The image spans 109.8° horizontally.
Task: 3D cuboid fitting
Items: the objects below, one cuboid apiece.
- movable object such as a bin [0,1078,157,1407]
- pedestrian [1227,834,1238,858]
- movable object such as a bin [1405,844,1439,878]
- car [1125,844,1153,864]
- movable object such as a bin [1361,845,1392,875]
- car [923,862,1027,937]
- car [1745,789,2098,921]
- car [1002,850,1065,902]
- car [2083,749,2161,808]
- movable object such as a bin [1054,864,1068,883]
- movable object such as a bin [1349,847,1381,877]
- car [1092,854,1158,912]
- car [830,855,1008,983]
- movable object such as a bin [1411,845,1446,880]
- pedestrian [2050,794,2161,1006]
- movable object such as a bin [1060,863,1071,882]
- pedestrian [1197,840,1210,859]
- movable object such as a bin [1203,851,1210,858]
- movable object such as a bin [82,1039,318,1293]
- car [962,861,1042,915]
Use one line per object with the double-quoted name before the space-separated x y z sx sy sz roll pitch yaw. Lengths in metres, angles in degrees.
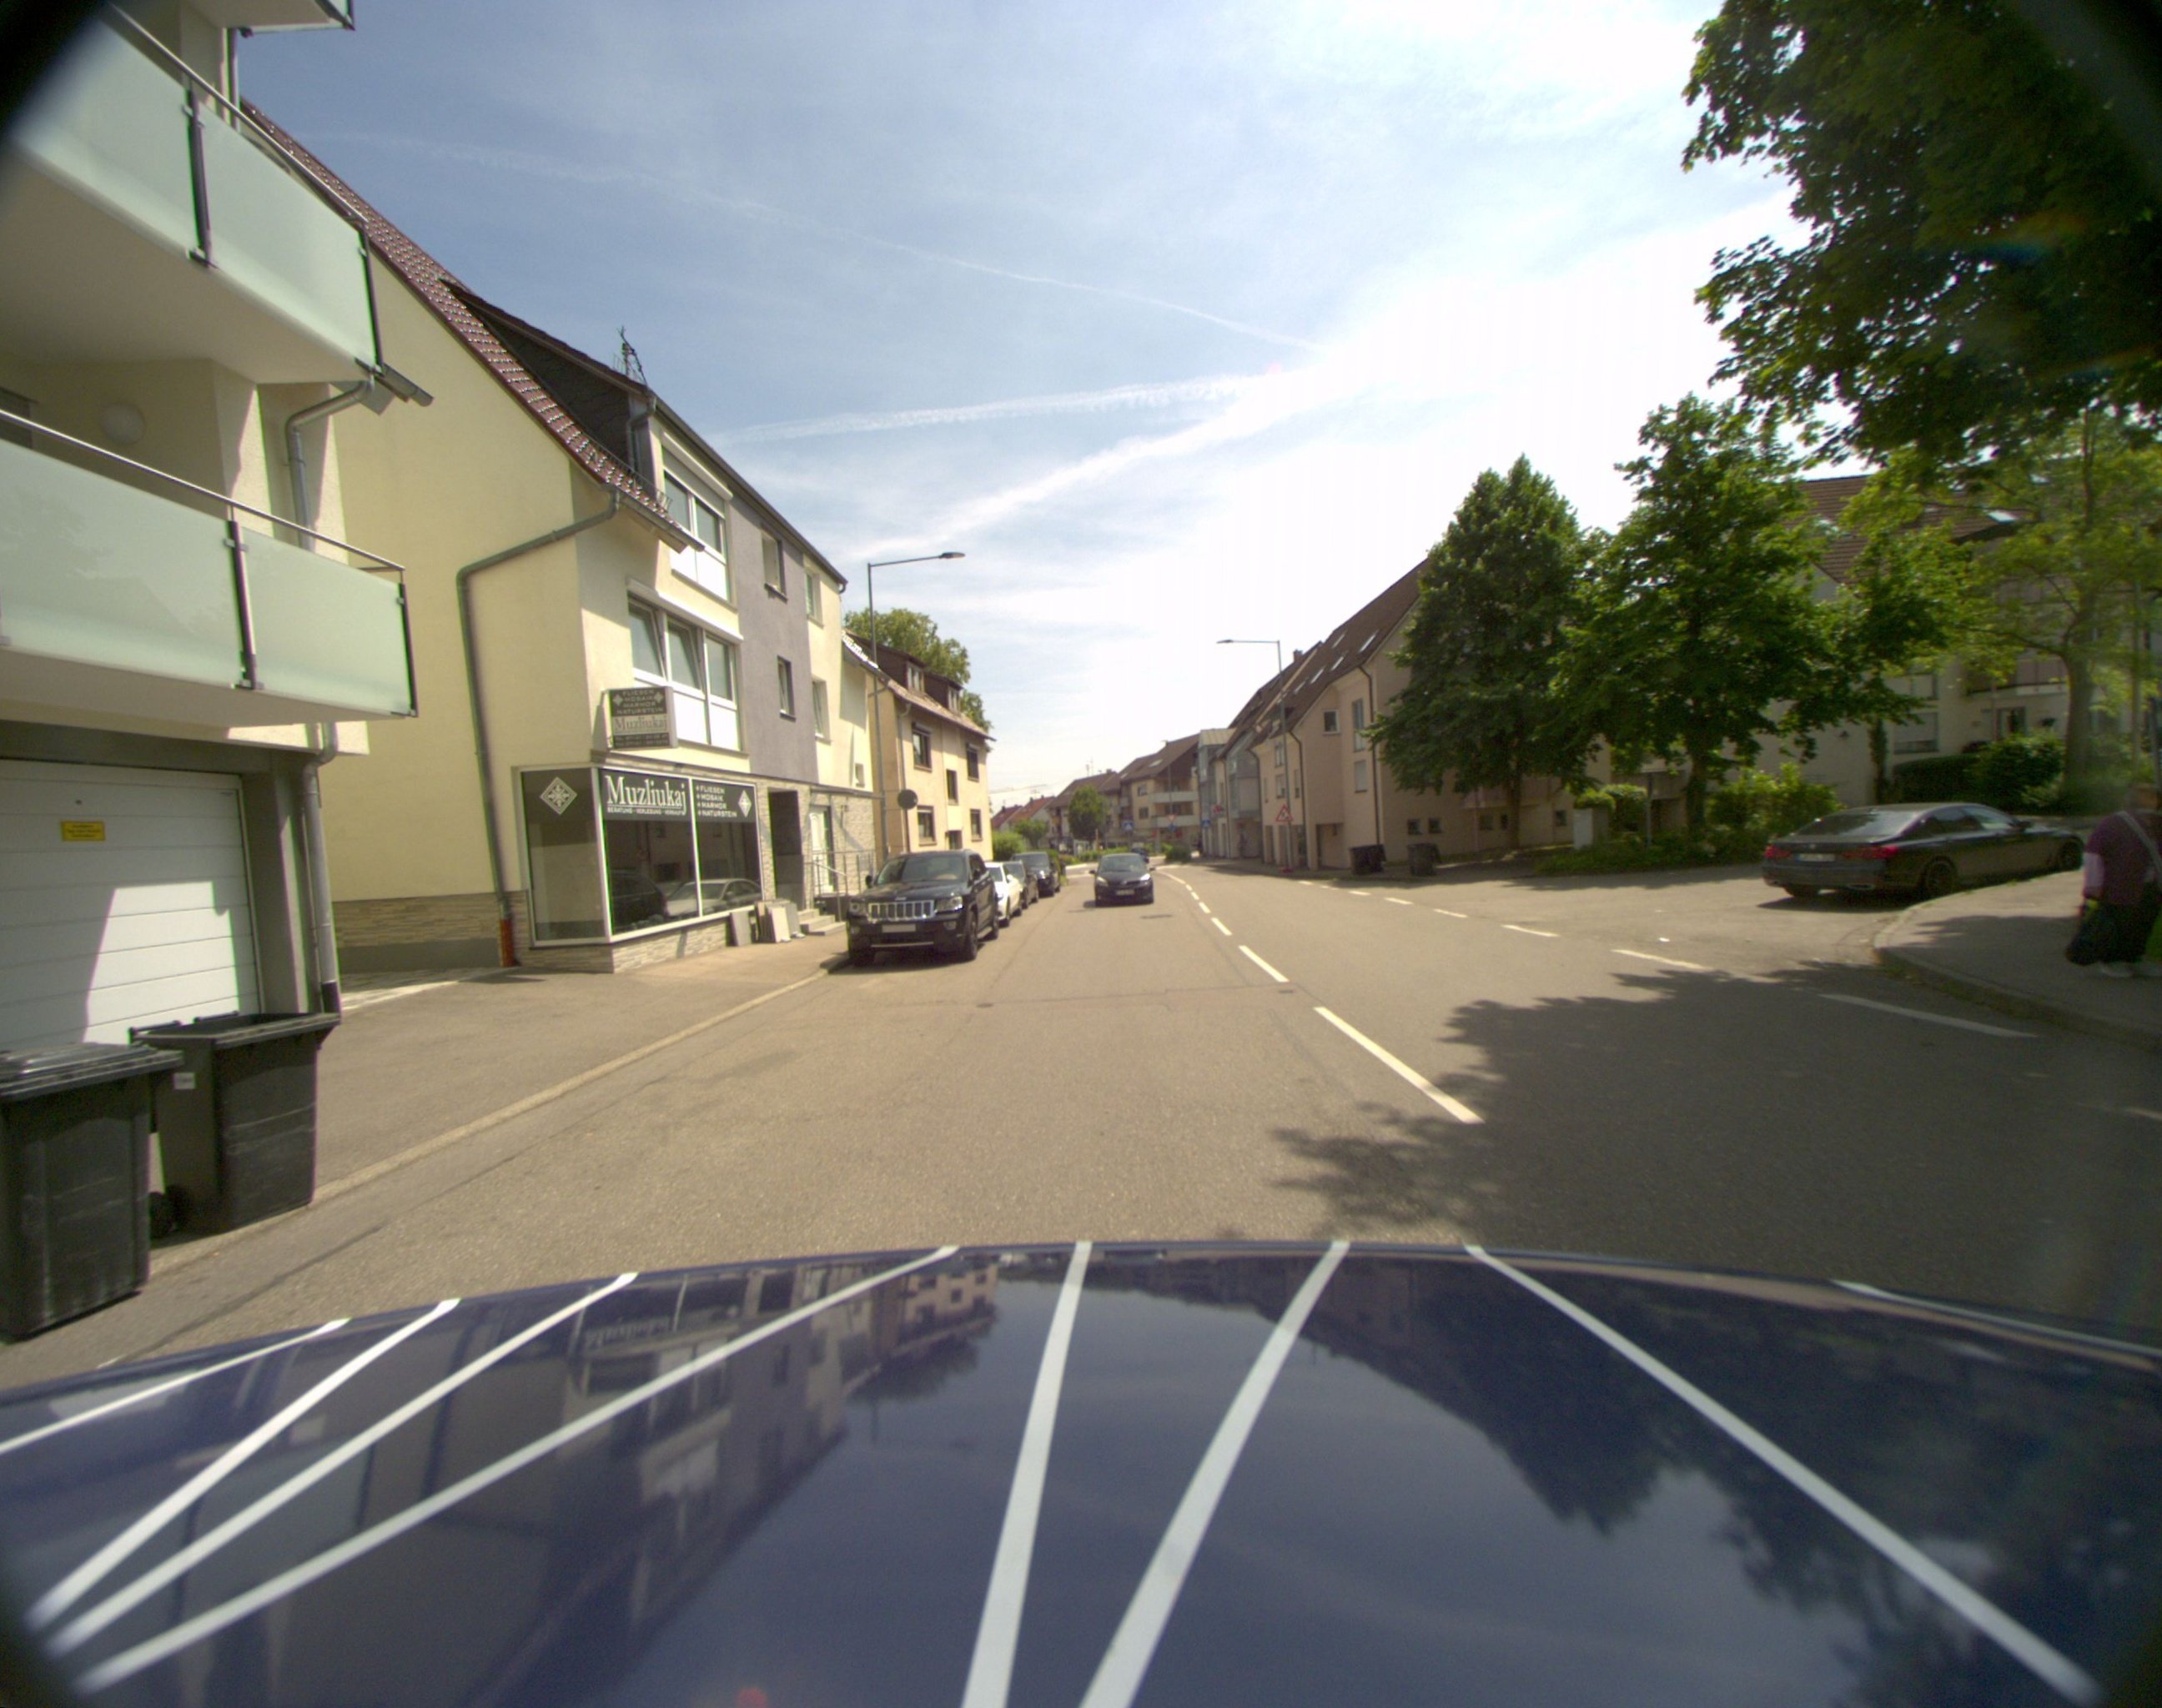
"movable object such as a bin" -3.746 1.329 2.627 0.432 0.951 0.517 -1 1 0
"pedestrian" 11.042 -0.594 55.522 0.576 1.699 0.579 -5 1 4
"movable object such as a bin" 11.298 0.225 25.166 0.773 0.995 0.609 -7 3 5
"car" 5.035 -0.010 66.767 1.757 1.575 3.943 -5 1 -4
"movable object such as a bin" 10.712 0.205 27.560 0.802 0.994 0.805 -6 1 5
"car" -2.452 1.015 18.718 1.793 1.447 4.716 -3 0 0
"car" 13.940 -0.039 12.656 4.792 1.471 1.997 -7 2 -16
"car" -1.769 0.782 29.810 1.848 1.660 4.655 -4 1 3
"car" 31.167 -2.205 20.811 1.998 1.558 4.147 -4 0 3
"movable object such as a bin" -1.030 1.021 39.770 0.525 0.987 0.502 -4 1 17
"movable object such as a bin" 10.175 0.282 27.223 0.853 0.994 0.694 -4 1 5
"car" 1.271 0.807 23.032 1.725 1.448 4.430 -3 0 2
"car" -2.544 0.927 13.234 1.958 1.706 4.716 -3 0 0
"movable object such as a bin" 11.201 0.277 24.509 0.773 0.995 0.609 -7 3 6
"pedestrian" 8.533 0.337 6.123 0.733 1.607 0.628 -5 1 -17
"movable object such as a bin" -0.824 0.974 40.514 0.501 0.988 0.503 -5 1 -6
"pedestrian" 10.049 -0.375 62.388 0.802 1.469 0.957 -5 1 -2
"movable object such as a bin" 10.261 0.048 62.044 0.459 0.578 0.468 -5 1 -1
"movable object such as a bin" -3.882 1.349 3.381 0.432 0.919 0.491 -2 1 0
"car" -2.383 1.002 24.011 1.793 1.412 4.358 -3 0 3
